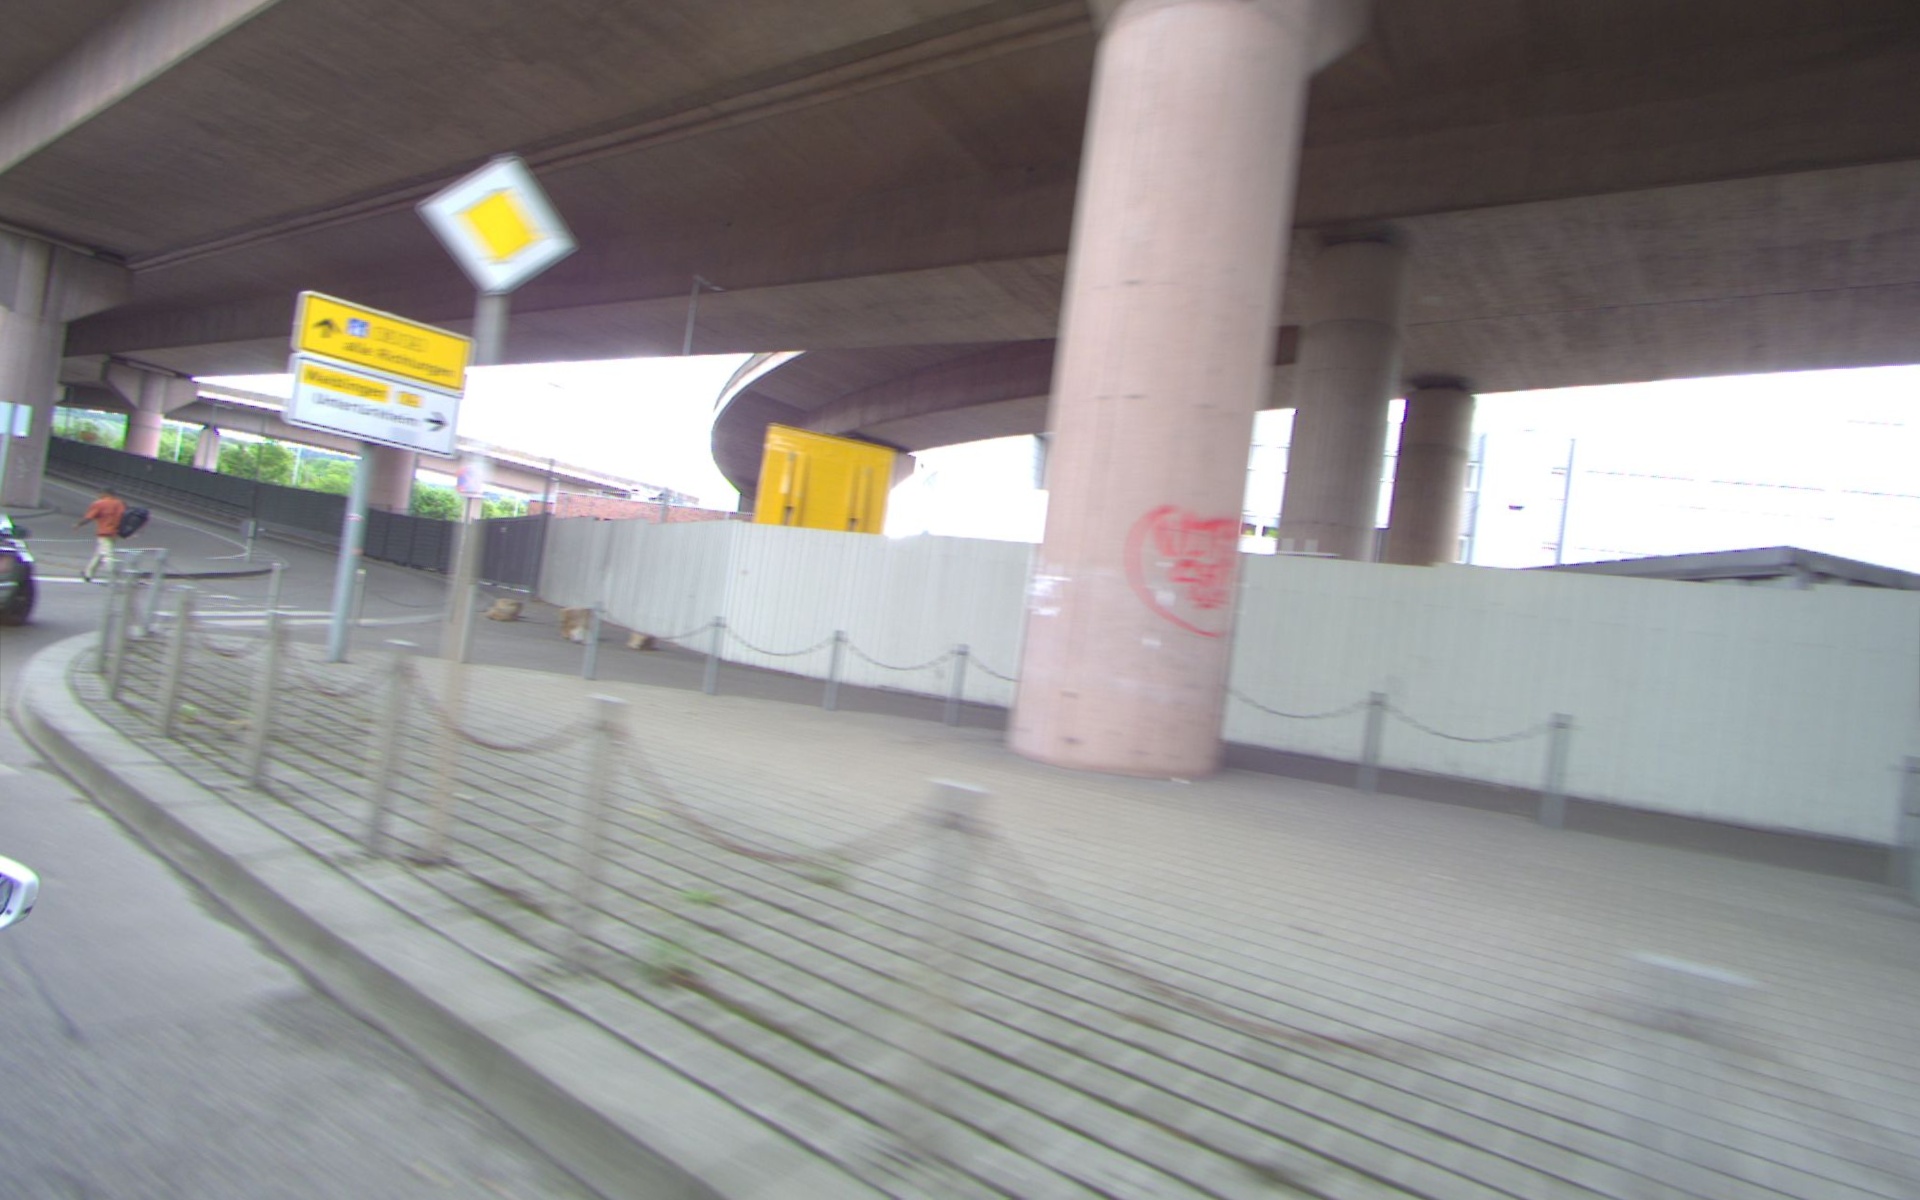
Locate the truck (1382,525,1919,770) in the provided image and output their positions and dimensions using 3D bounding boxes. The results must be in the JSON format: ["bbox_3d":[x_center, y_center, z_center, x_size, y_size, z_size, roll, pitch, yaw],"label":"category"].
[{"bbox_3d":[11.324,0.588,17.151,3.094,2.981,8.698,5,0,-11],"label":"truck"}]

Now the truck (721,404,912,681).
[{"bbox_3d":[-3.662,-1.029,23.870,3.097,4.973,8.703,8,-2,-12],"label":"truck"}]

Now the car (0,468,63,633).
[{"bbox_3d":[-10.526,-0.590,9.537,1.978,1.699,4.526,7,-1,-30],"label":"car"}]

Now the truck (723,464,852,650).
[{"bbox_3d":[-5.857,-1.149,33.331,3.097,4.959,8.703,8,-2,-12],"label":"truck"}]

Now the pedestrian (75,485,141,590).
[{"bbox_3d":[-14.657,-1.066,17.308,0.548,1.697,0.537,8,1,24],"label":"pedestrian"}]
